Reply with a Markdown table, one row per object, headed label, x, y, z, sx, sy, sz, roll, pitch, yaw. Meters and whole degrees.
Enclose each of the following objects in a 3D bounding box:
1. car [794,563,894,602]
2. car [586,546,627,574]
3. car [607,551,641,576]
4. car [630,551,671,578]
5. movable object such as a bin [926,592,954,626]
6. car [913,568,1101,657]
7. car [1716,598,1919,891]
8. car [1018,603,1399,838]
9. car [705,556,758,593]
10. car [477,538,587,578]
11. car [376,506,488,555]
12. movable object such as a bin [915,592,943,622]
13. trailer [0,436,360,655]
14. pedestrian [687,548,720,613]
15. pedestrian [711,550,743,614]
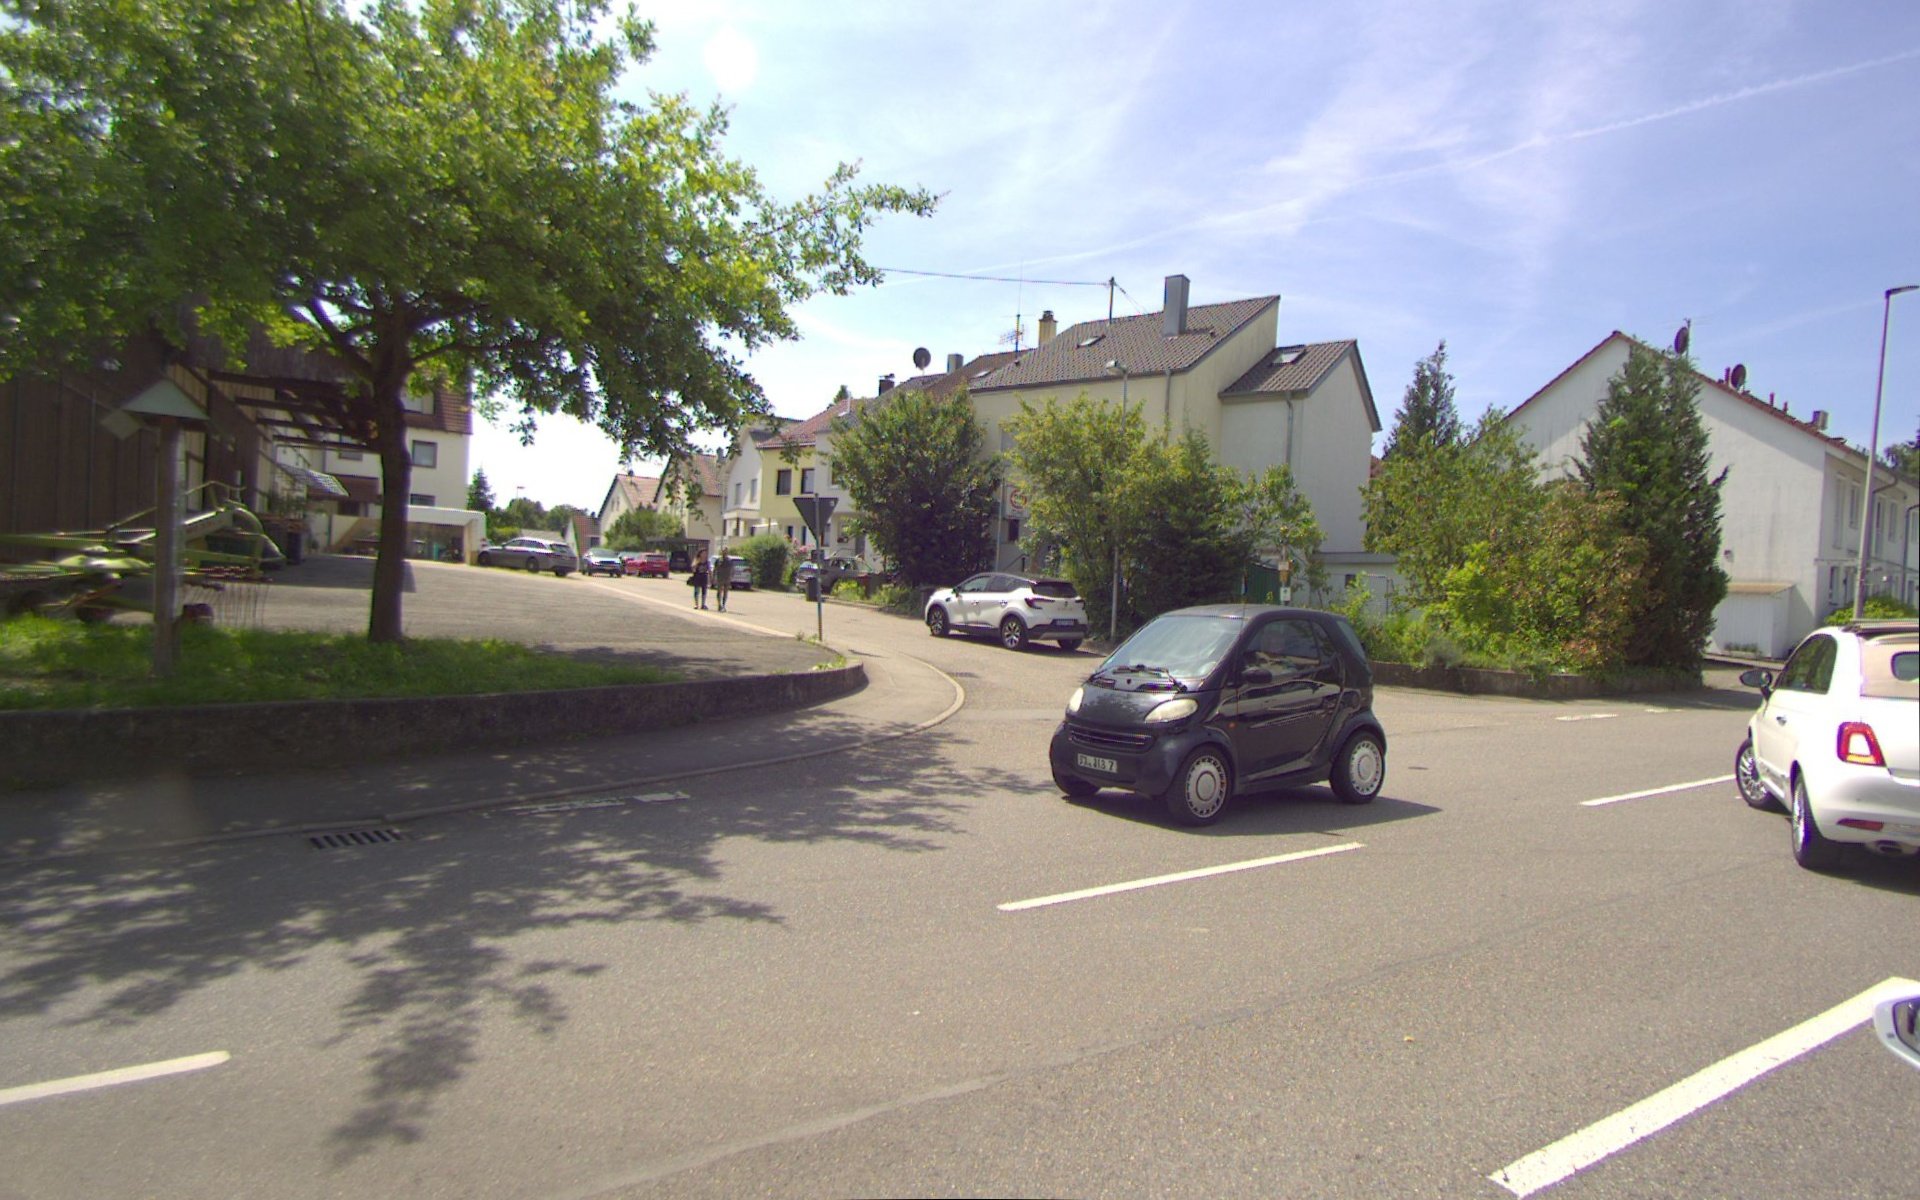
| label | x | y | z | sx | sy | sz | roll | pitch | yaw |
| --- | --- | --- | --- | --- | --- | --- | --- | --- | --- |
| car | -4.677 | -0.711 | 40.656 | 3.763 | 1.400 | 1.542 | 1 | 3 | -40 |
| car | -19.517 | -2.234 | 55.354 | 1.471 | 1.400 | 2.905 | 1 | 3 | -33 |
| car | -21.502 | -2.351 | 64.212 | 1.388 | 1.399 | 2.905 | 3 | 2 | -33 |
| car | -18.185 | -2.081 | 58.941 | 1.563 | 1.400 | 2.905 | 1 | 3 | -33 |
| movable object such as a bin | -0.550 | 0.241 | 27.767 | 0.584 | 0.902 | 0.576 | 1 | 3 | -23 |
| car | 0.920 | 0.217 | 21.874 | 1.773 | 1.550 | 4.124 | 2 | 3 | -38 |
| car | 6.541 | 0.857 | 6.961 | 1.700 | 1.580 | 3.991 | 1 | -2 | 32 |
| car | 2.005 | 0.821 | 7.960 | 2.772 | 1.530 | 1.471 | 1 | -1 | -35 |
| car | -10.152 | -1.147 | 44.473 | 1.511 | 1.417 | 3.118 | 3 | 2 | -27 |
| car | -18.272 | -1.779 | 42.868 | 4.158 | 1.433 | 1.999 | 4 | 2 | 24 |
| car | -25.108 | -3.247 | 47.813 | 4.604 | 2.041 | 1.984 | 1 | 1 | -30 |
| movable object such as a bin | -0.889 | 0.192 | 28.833 | 0.595 | 0.821 | 0.636 | 1 | 1 | -23 |
| trailer | -8.346 | -0.553 | 9.869 | 2.711 | 1.714 | 3.705 | 3 | 2 | -2 |
| pedestrian | -6.601 | -0.501 | 25.837 | 0.591 | 1.595 | 0.714 | 4 | 0 | -26 |
| pedestrian | -6.066 | -0.468 | 26.127 | 0.579 | 1.595 | 0.721 | 4 | 0 | -26 |
